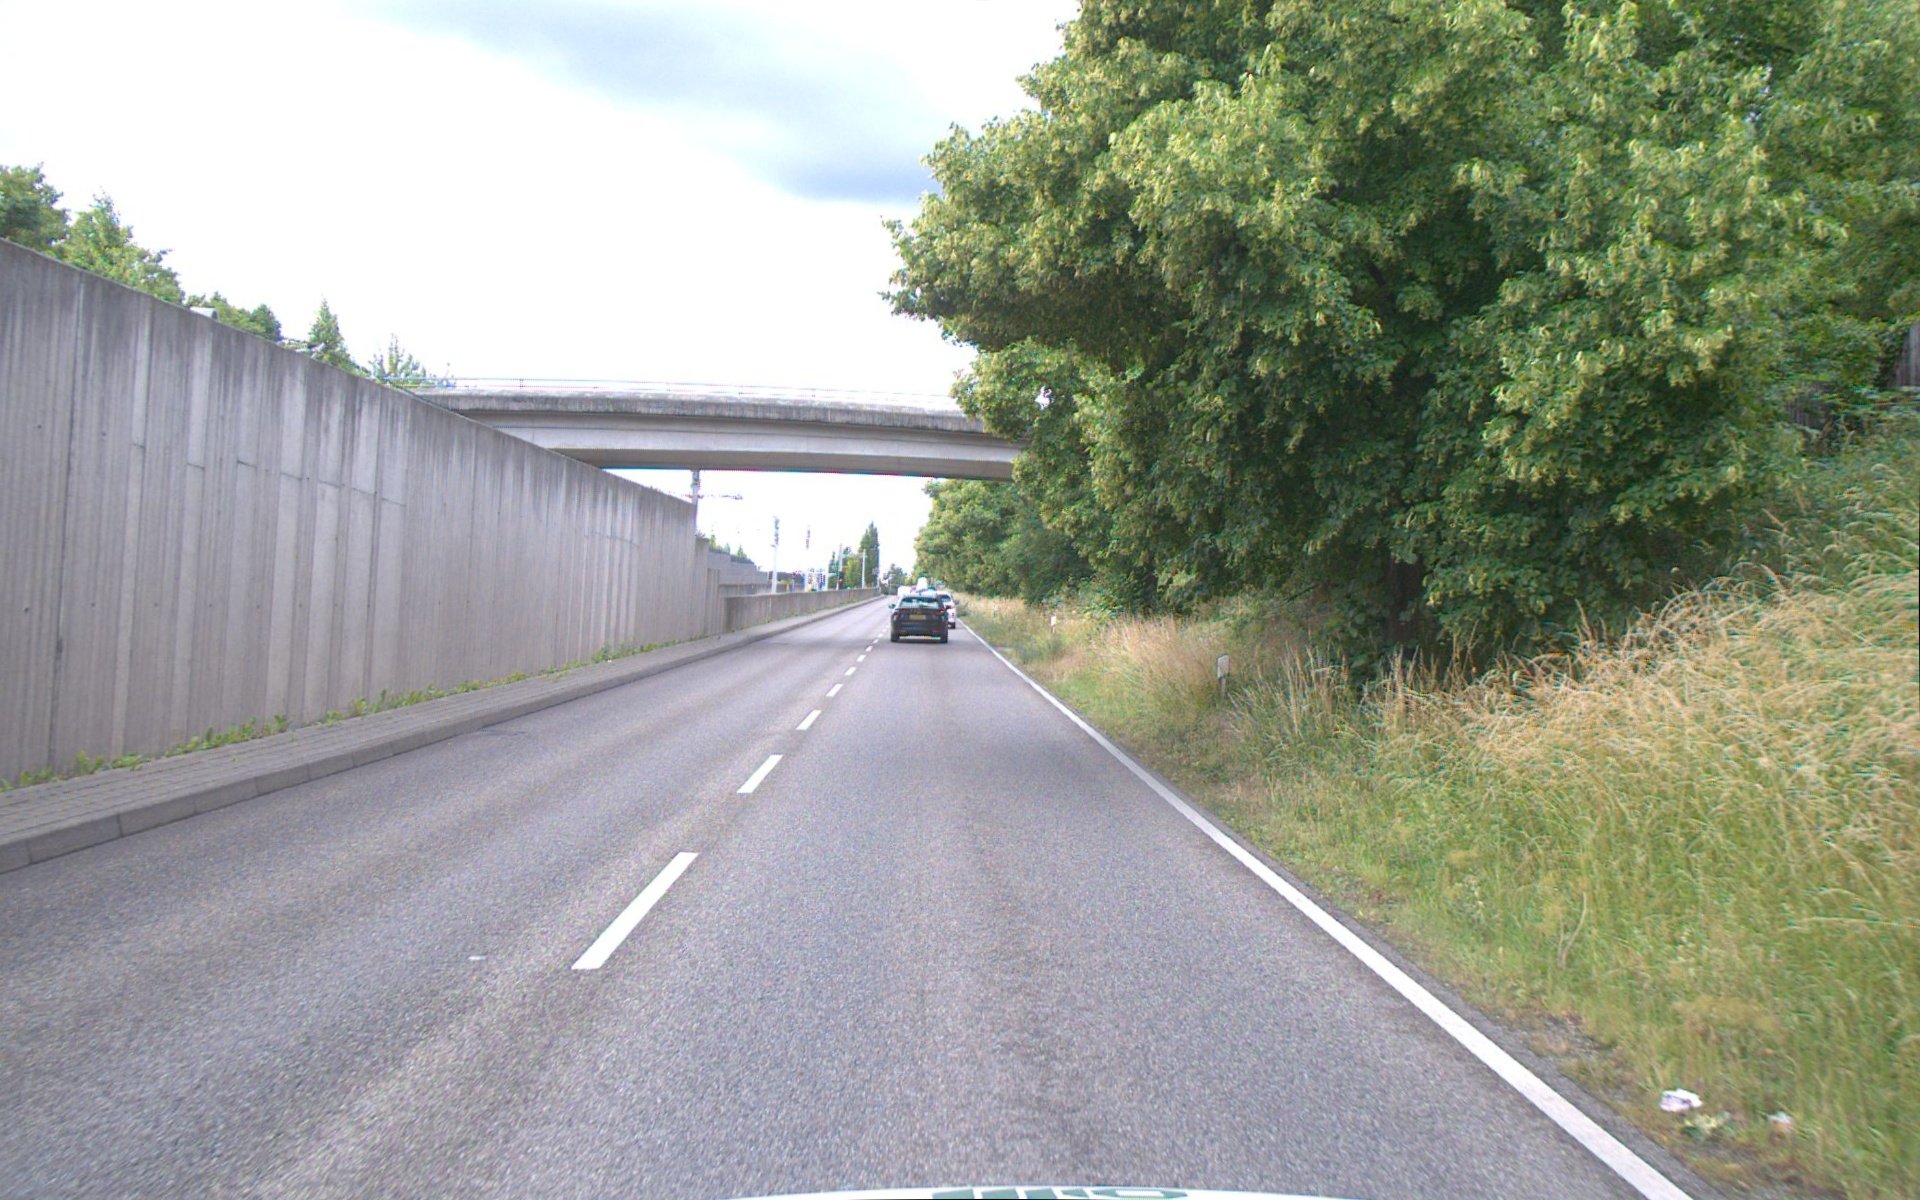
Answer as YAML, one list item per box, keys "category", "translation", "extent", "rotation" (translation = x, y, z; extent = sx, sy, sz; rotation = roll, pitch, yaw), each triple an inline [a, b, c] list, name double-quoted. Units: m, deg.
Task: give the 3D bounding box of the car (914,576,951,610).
- category: "car"
  translation: [-1.550, -0.370, 92.347]
  extent: [1.953, 1.771, 3.999]
  rotation: [1, -1, -1]

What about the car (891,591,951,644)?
- category: "car"
  translation: [-1.186, 0.510, 50.507]
  extent: [1.745, 1.493, 3.999]
  rotation: [1, 0, -1]

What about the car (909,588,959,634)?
- category: "car"
  translation: [-1.088, 0.437, 67.960]
  extent: [1.953, 1.783, 3.999]
  rotation: [1, 0, -1]
